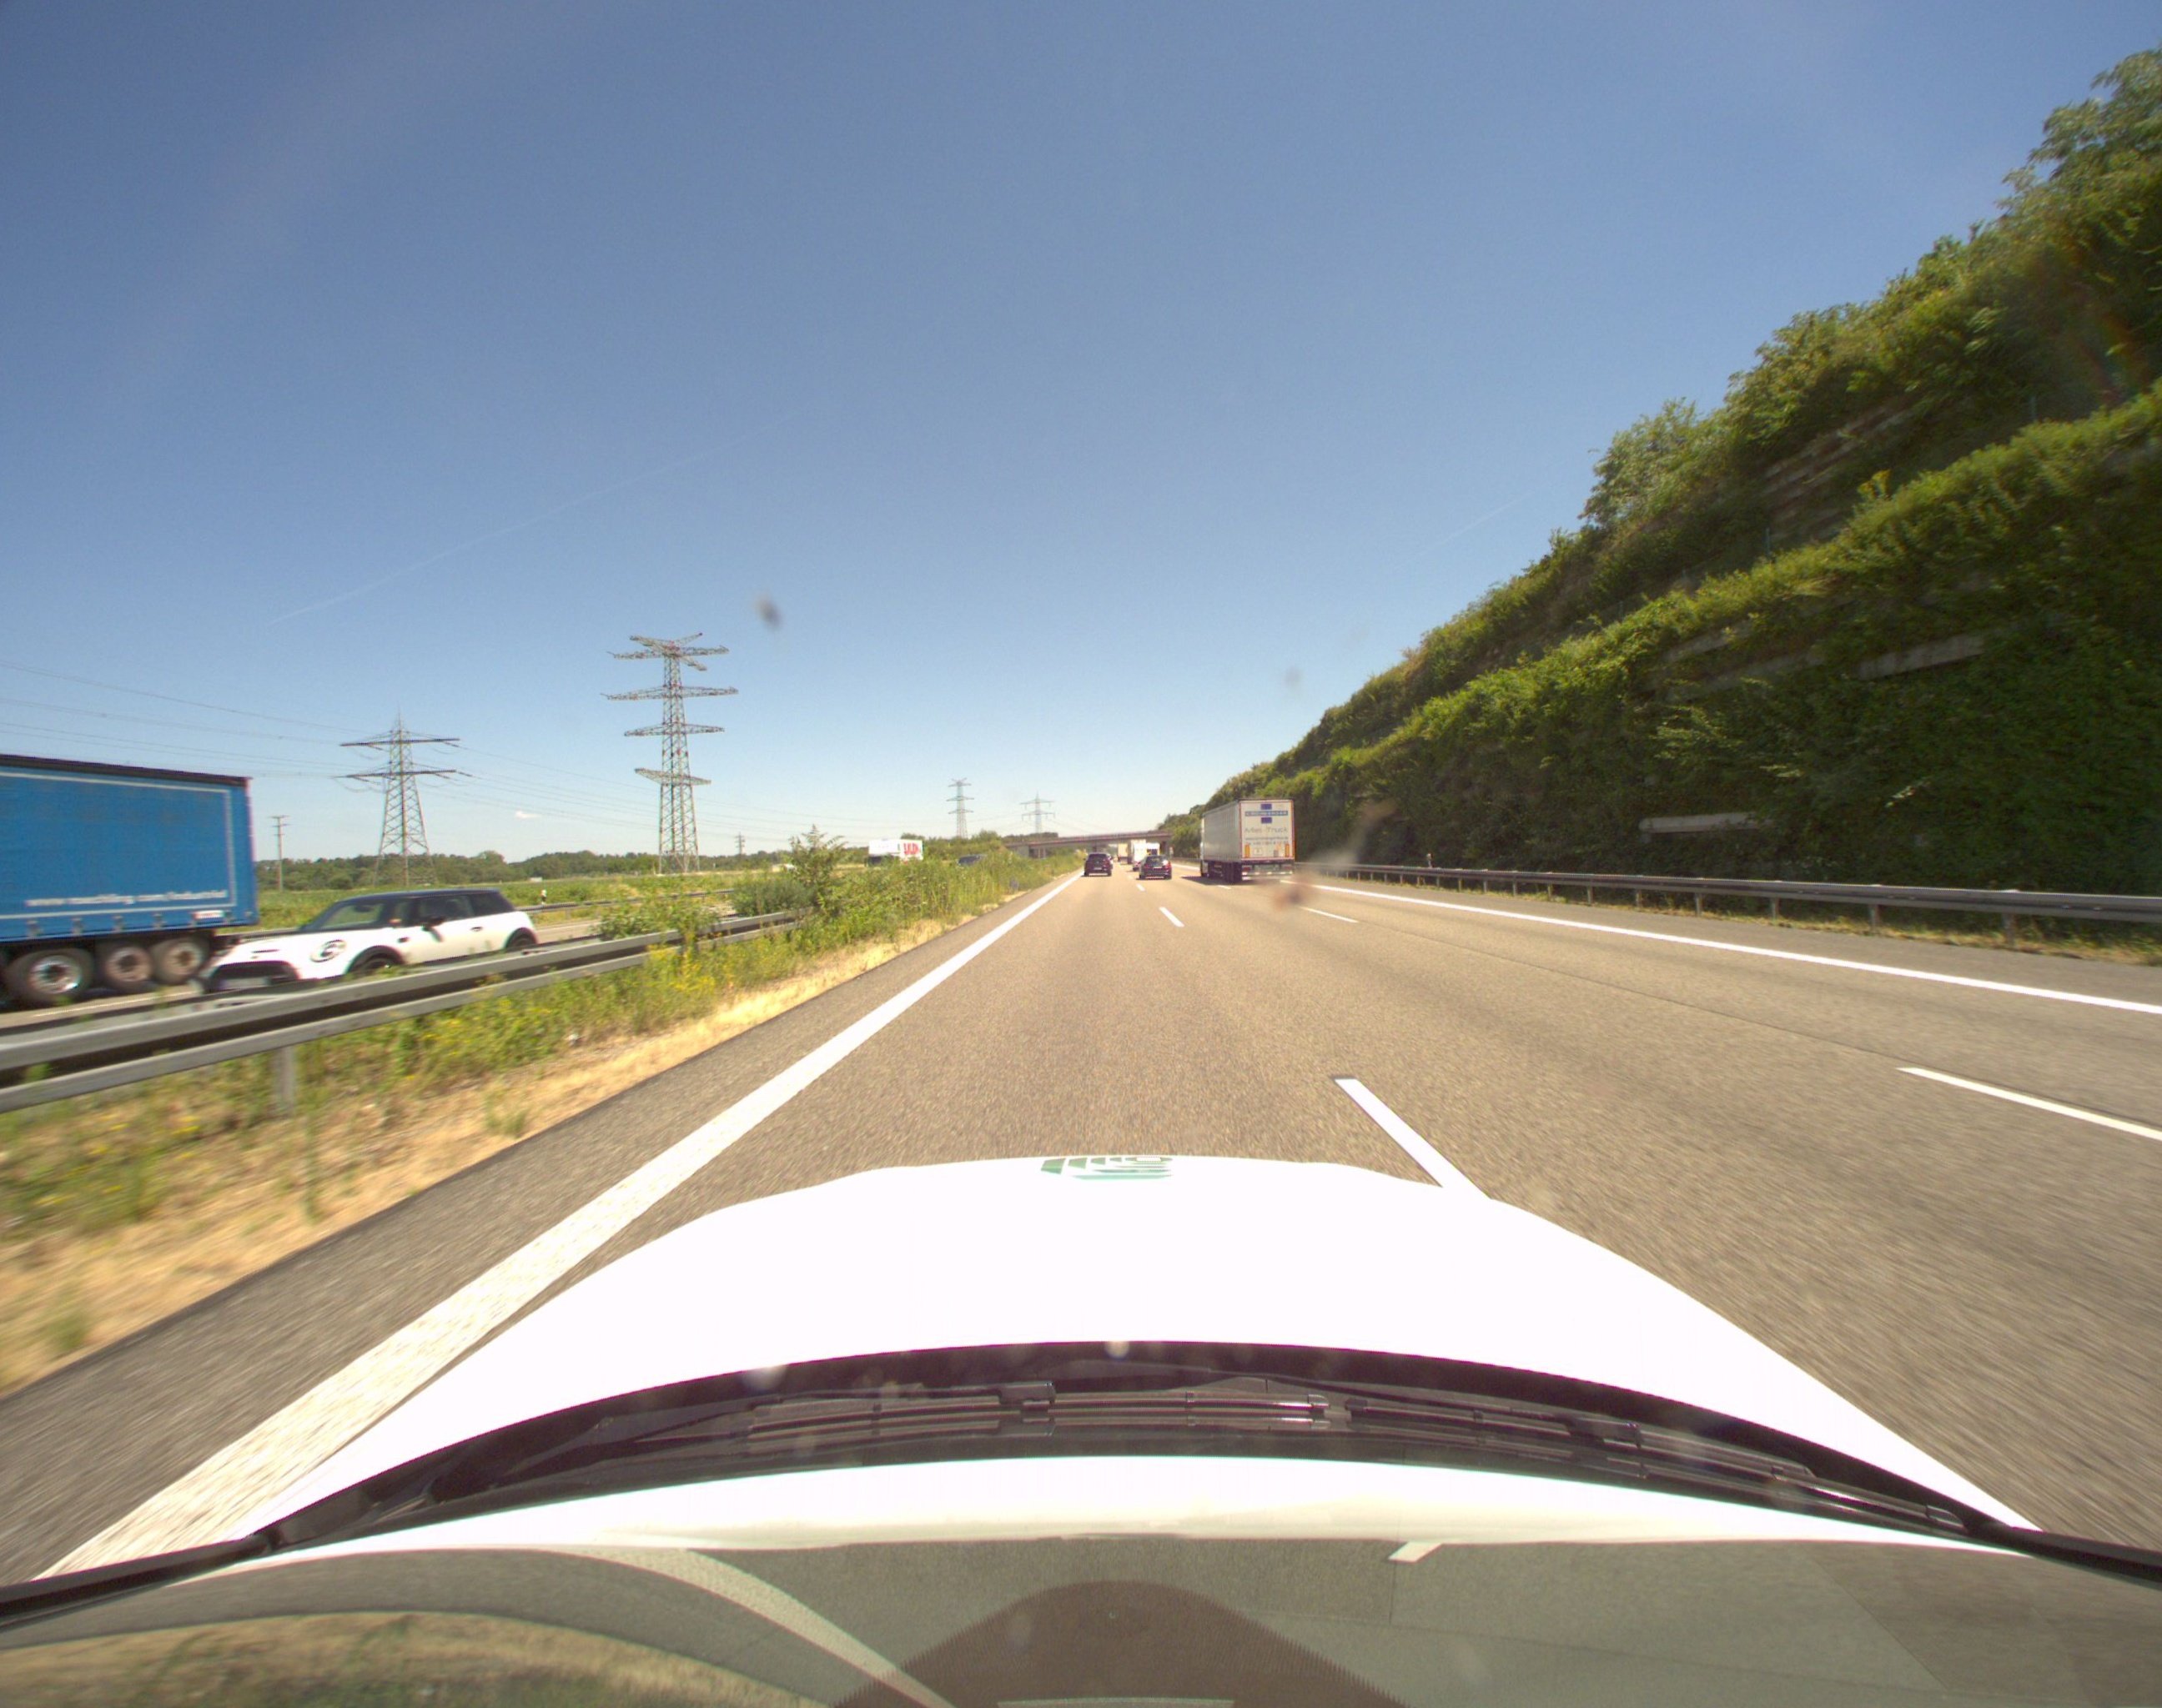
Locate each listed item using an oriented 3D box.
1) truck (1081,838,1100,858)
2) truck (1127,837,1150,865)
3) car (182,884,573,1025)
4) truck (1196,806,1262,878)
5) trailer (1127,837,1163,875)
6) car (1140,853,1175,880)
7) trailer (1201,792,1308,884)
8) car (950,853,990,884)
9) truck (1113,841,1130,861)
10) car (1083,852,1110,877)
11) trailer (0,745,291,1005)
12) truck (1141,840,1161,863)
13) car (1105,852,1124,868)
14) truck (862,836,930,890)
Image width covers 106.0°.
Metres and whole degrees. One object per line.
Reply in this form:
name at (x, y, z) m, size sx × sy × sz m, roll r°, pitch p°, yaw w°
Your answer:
truck at (2.152, -1.246, 181.392) m, size 3.948 × 4.113 × 9.954 m, roll -2°, pitch 0°, yaw 1°
truck at (9.232, -0.517, 132.838) m, size 3.107 × 4.280 × 11.937 m, roll -2°, pitch 0°, yaw 2°
car at (-9.477, 1.235, 11.563) m, size 1.625 × 1.399 × 4.333 m, roll -3°, pitch 0°, yaw 2°
truck at (9.123, -0.715, 50.896) m, size 3.124 × 4.141 × 5.505 m, roll -2°, pitch 0°, yaw 1°
trailer at (5.922, 0.180, 76.891) m, size 2.601 × 3.213 × 9.954 m, roll -2°, pitch 0°, yaw 1°
car at (4.644, 0.714, 49.944) m, size 1.823 × 1.525 × 4.002 m, roll -2°, pitch 0°, yaw 2°
trailer at (9.009, -0.722, 44.352) m, size 3.171 × 4.121 × 13.435 m, roll -2°, pitch 0°, yaw 1°
car at (-7.727, 0.985, 57.267) m, size 1.987 × 2.013 × 5.118 m, roll -2°, pitch 0°, yaw 1°
truck at (9.113, -0.646, 182.353) m, size 3.397 × 4.280 × 10.611 m, roll -2°, pitch 0°, yaw 2°
car at (1.150, 0.738, 59.876) m, size 1.823 × 1.670 × 4.001 m, roll -2°, pitch 0°, yaw 1°
trailer at (-17.763, 0.362, 9.703) m, size 2.683 × 3.937 × 13.914 m, roll -2°, pitch 0°, yaw 2°
truck at (13.649, -0.449, 159.270) m, size 3.107 × 4.280 × 10.171 m, roll -2°, pitch 0°, yaw 2°
car at (3.695, 0.692, 90.380) m, size 1.824 × 1.670 × 3.999 m, roll -2°, pitch 0°, yaw 0°
truck at (-15.455, 0.697, 68.907) m, size 2.862 × 4.176 × 10.573 m, roll -2°, pitch 0°, yaw 2°
